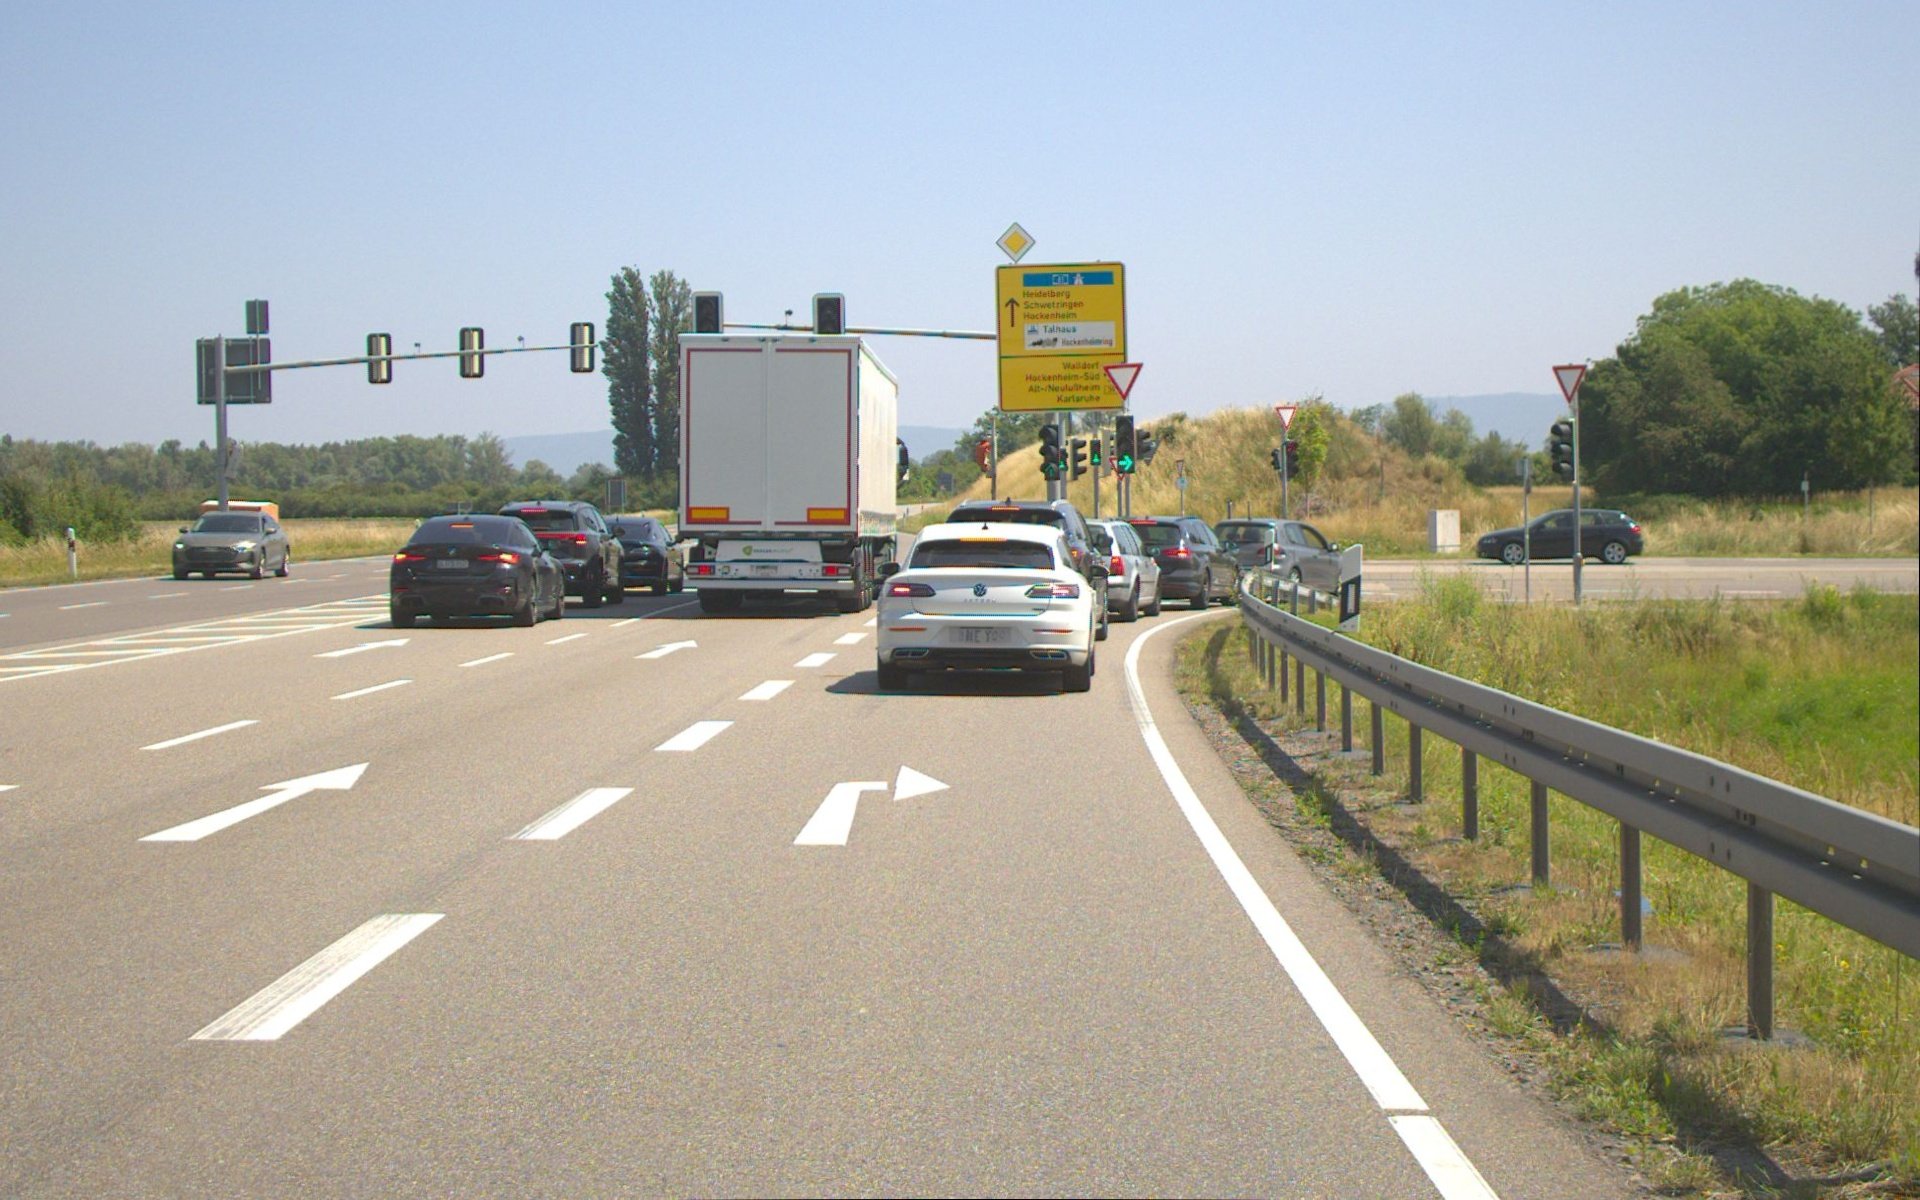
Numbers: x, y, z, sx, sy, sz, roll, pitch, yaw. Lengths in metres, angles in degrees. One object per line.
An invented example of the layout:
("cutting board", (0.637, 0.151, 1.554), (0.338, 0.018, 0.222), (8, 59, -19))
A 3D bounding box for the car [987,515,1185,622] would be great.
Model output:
("car", (1.828, -0.466, 48.511), (1.801, 1.424, 4.089), (1, 1, 17))

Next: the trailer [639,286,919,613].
("trailer", (-2.617, -2.270, 54.508), (3.381, 4.527, 12.872), (1, 1, 1))

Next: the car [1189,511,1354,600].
("car", (5.547, -0.796, 60.870), (1.802, 1.516, 3.878), (1, 1, 23))

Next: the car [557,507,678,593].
("car", (-6.161, -0.914, 62.227), (1.809, 1.488, 4.021), (1, 1, -1))

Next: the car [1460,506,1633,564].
("car", (15.142, -1.680, 88.933), (4.261, 1.364, 1.776), (-1, 3, 5))

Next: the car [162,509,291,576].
("car", (-15.753, -1.245, 73.993), (1.878, 1.393, 4.532), (0, 1, -1))

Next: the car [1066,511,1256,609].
("car", (3.213, -0.648, 54.155), (1.801, 1.471, 4.410), (1, 1, 20))

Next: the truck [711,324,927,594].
("truck", (-2.427, -2.473, 61.500), (3.381, 4.527, 6.372), (1, 1, 1))

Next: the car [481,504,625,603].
("car", (-6.361, -0.748, 54.100), (1.809, 1.488, 4.021), (1, 1, -1))

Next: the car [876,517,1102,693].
("car", (0.289, -0.001, 30.502), (1.848, 1.428, 4.608), (0, 1, 1))

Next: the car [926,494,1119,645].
("car", (0.774, -0.376, 39.313), (1.935, 1.611, 4.378), (1, 1, 5))

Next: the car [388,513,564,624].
("car", (-6.422, -0.449, 45.990), (1.809, 1.393, 4.021), (1, 1, -1))
